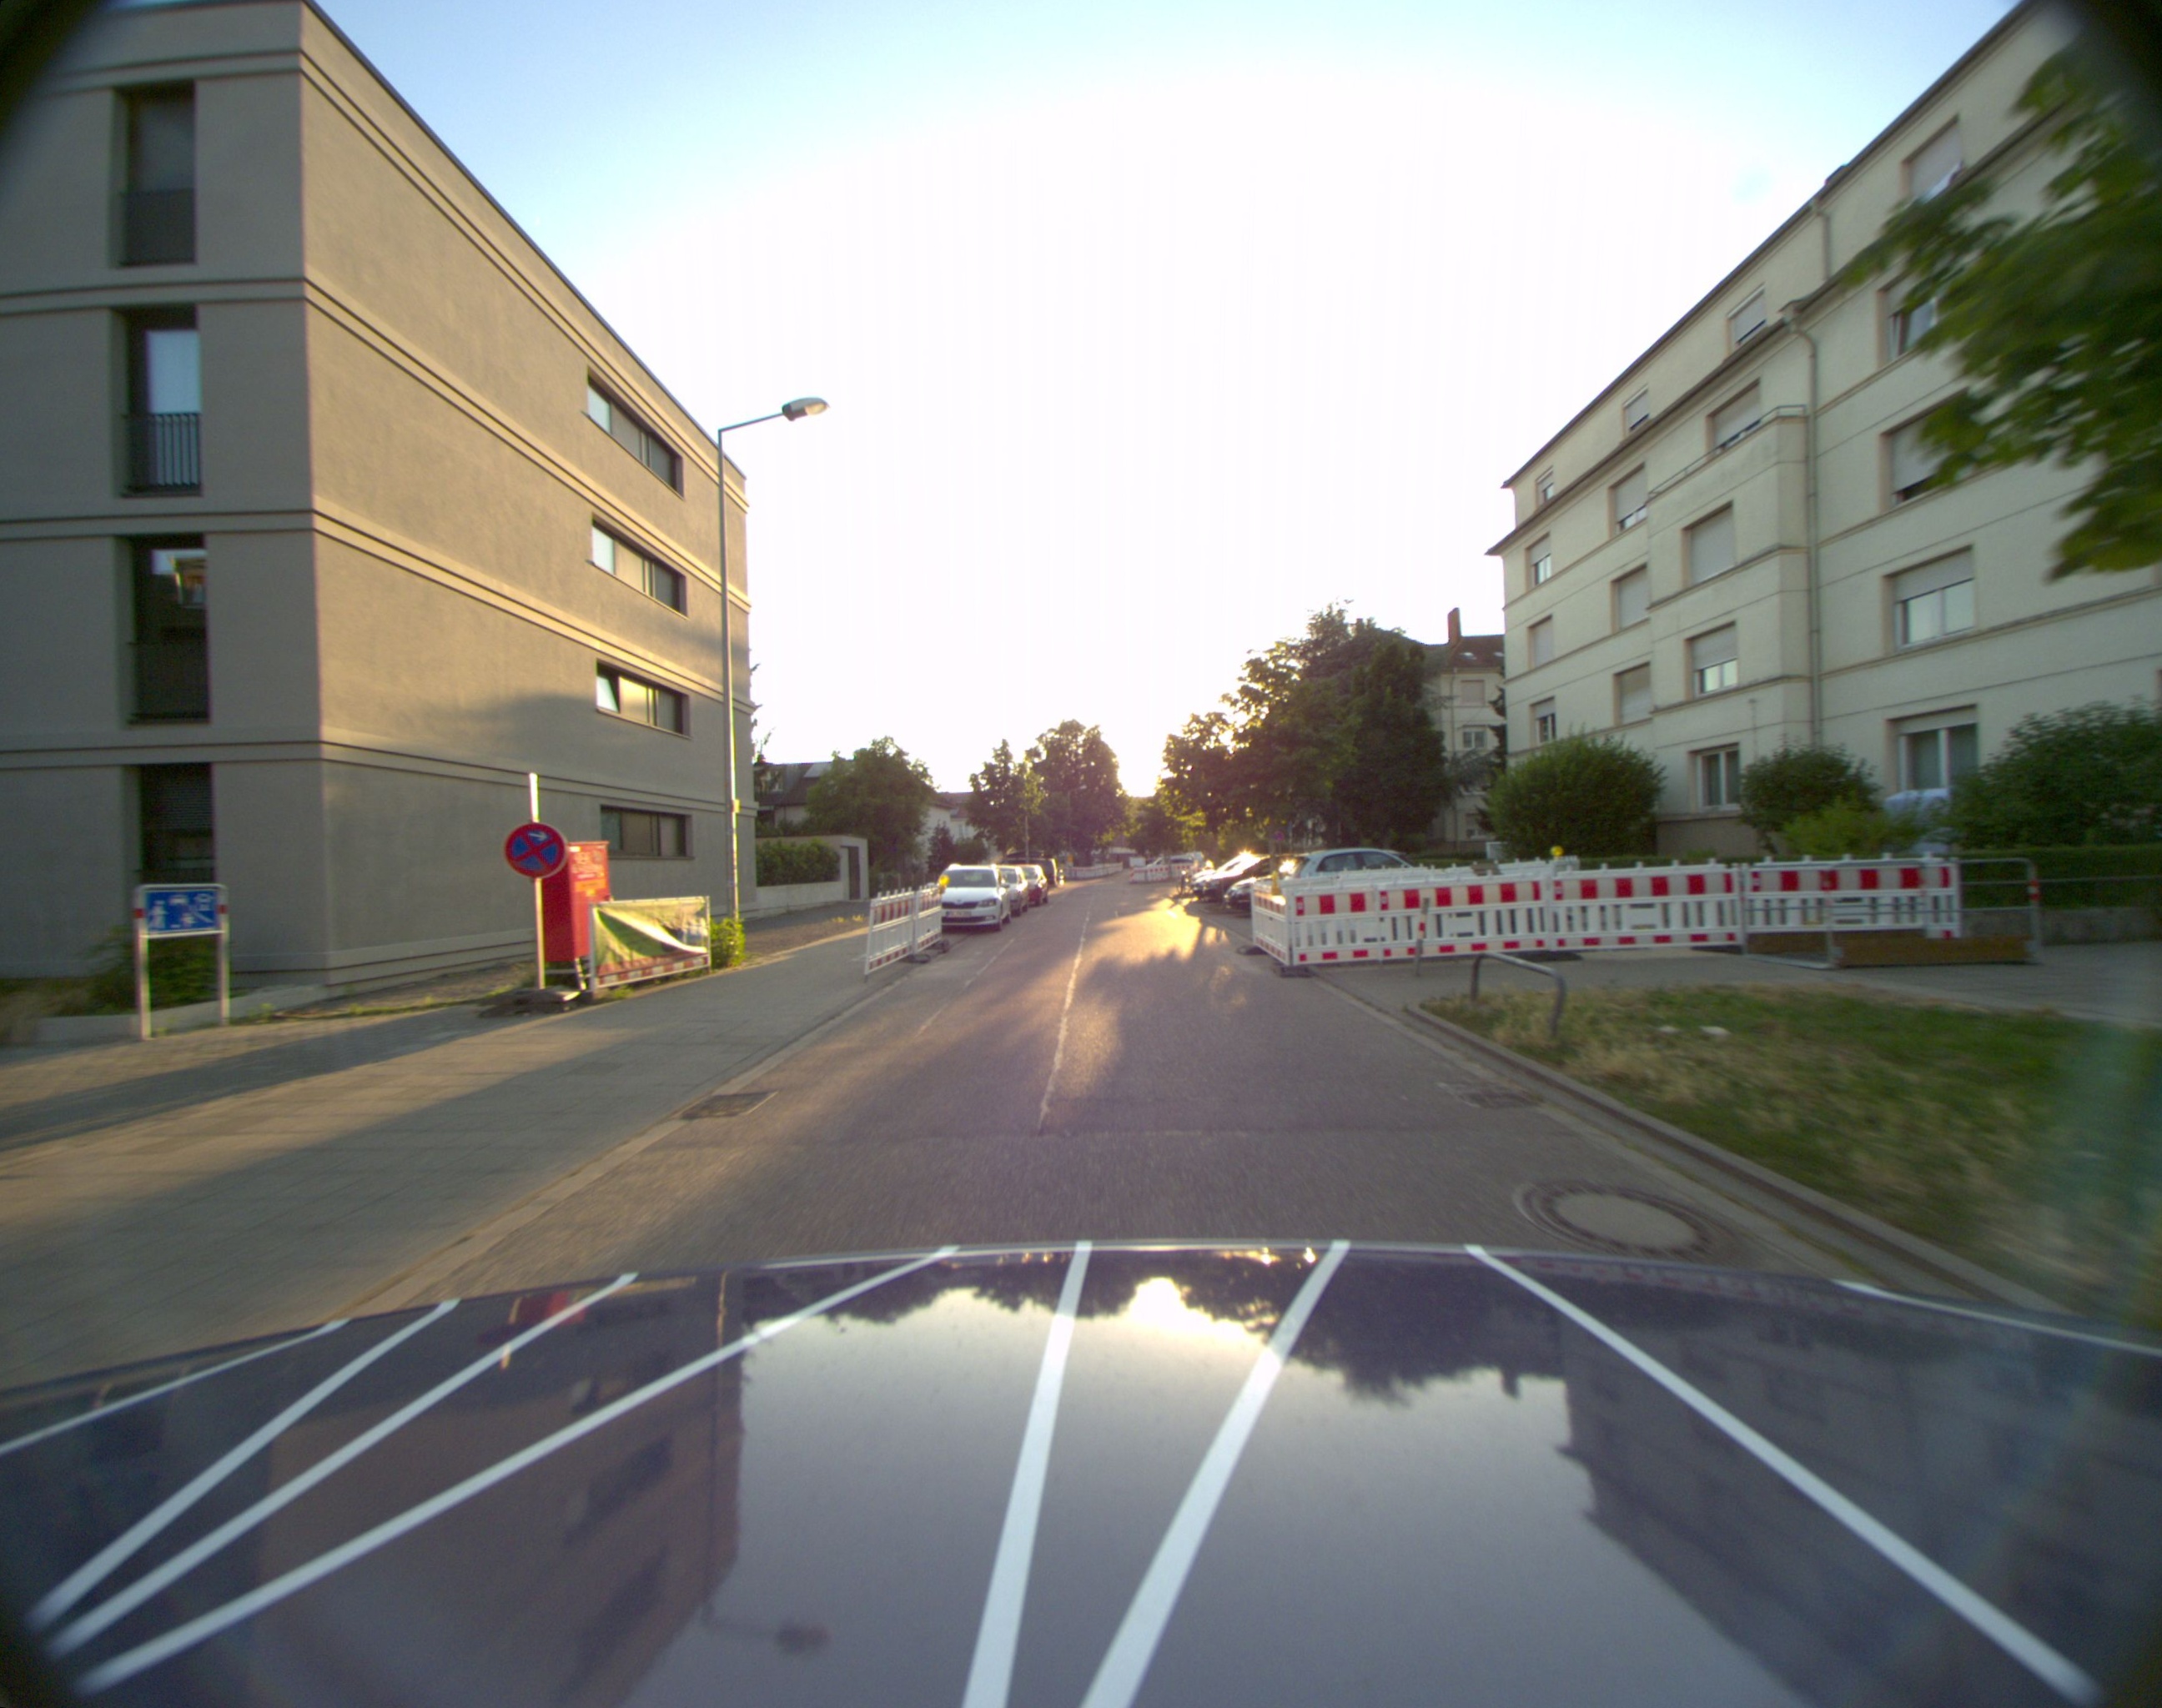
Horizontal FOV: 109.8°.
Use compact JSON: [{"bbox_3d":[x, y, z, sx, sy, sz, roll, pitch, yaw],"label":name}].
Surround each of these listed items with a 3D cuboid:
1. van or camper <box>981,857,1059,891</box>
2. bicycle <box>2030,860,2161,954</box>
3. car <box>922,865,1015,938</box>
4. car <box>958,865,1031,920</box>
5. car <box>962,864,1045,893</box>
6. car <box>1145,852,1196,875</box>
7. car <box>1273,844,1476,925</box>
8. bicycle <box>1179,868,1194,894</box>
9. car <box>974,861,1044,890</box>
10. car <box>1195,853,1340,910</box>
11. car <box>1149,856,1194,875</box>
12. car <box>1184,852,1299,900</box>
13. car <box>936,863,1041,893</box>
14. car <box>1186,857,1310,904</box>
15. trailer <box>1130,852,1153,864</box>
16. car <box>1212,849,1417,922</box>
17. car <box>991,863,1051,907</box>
[{"bbox_3d":[-3.730,1.200,47.013,4.659,1.942,2.094,-2,0,-1],"label":"van or camper"},{"bbox_3d":[12.095,0.590,8.695,1.925,0.986,0.360,-3,1,2],"label":"bicycle"},{"bbox_3d":[-2.540,1.028,17.990,1.618,1.461,3.996,-2,0,-1],"label":"car"},{"bbox_3d":[-2.539,1.104,23.252,1.802,1.461,3.843,-2,0,-1],"label":"car"},{"bbox_3d":[-4.008,1.272,39.845,4.064,1.492,1.771,0,0,5],"label":"car"},{"bbox_3d":[8.717,0.939,74.327,4.785,2.057,2.001,-2,0,6],"label":"car"},{"bbox_3d":[6.286,0.642,16.567,3.709,1.475,1.728,-3,0,0],"label":"car"},{"bbox_3d":[4.609,1.165,33.165,0.448,1.089,1.629,-2,0,1],"label":"bicycle"},{"bbox_3d":[-4.184,1.250,44.584,3.841,1.535,1.629,-2,0,1],"label":"car"},{"bbox_3d":[5.680,0.832,23.476,4.041,1.475,1.728,-3,0,3],"label":"car"},{"bbox_3d":[8.535,1.078,71.825,4.129,1.673,2.001,-2,0,6],"label":"car"},{"bbox_3d":[5.988,0.813,28.696,3.996,1.533,1.728,-3,0,3],"label":"car"},{"bbox_3d":[-4.473,1.158,37.175,4.829,1.390,1.770,0,0,2],"label":"car"},{"bbox_3d":[5.618,0.881,25.932,3.851,1.376,1.607,-3,0,2],"label":"car"},{"bbox_3d":[10.881,0.727,137.037,3.682,2.056,2.002,-2,0,15],"label":"trailer"},{"bbox_3d":[5.726,0.739,18.883,4.521,1.475,1.727,-3,0,-7],"label":"car"},{"bbox_3d":[-2.181,1.123,28.573,1.744,1.461,3.759,-2,0,2],"label":"car"}]
